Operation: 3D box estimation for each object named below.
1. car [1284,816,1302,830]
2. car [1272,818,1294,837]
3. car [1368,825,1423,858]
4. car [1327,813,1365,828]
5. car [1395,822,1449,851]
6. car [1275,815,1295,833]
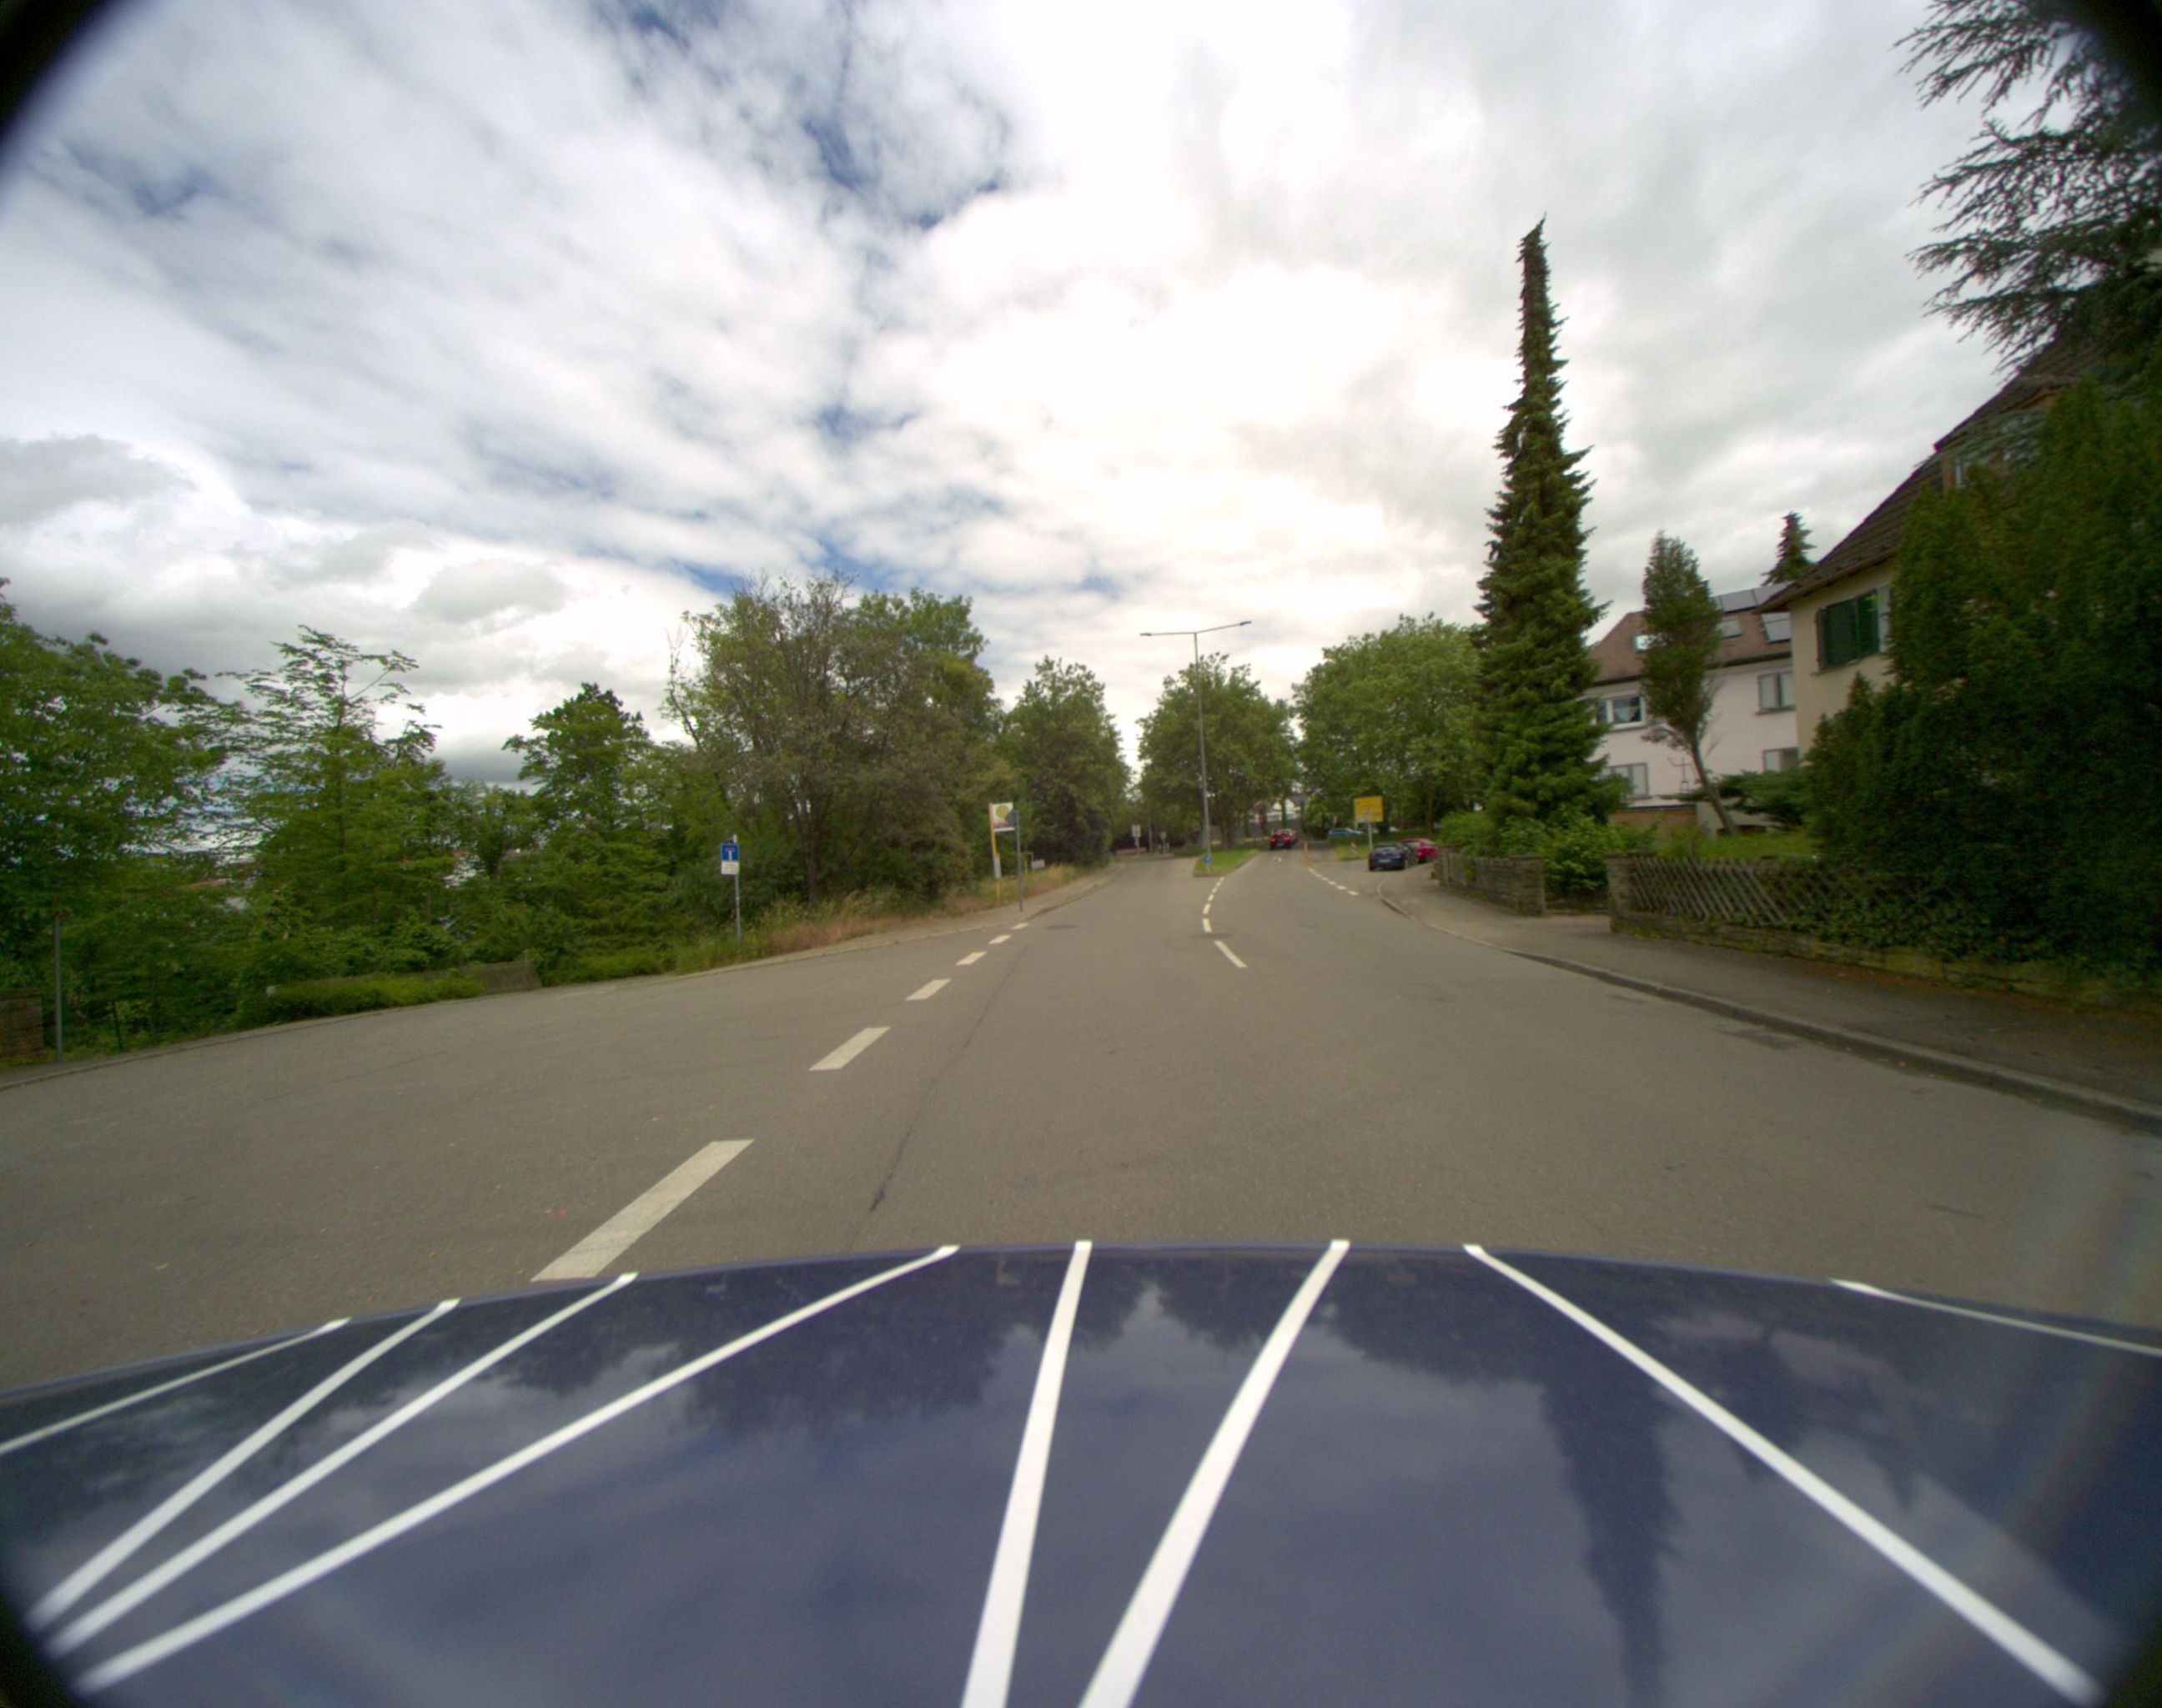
[{"bbox_3d":[25.034,-3.663,89.610,1.759,1.509,4.391,-4,1,18],"label":"car"},{"bbox_3d":[19.595,-2.588,73.495,1.759,1.583,4.616,-4,3,18],"label":"car"},{"bbox_3d":[16.337,-0.657,39.347,1.728,1.465,4.322,-3,1,34],"label":"car"},{"bbox_3d":[33.584,-4.184,96.302,1.801,1.419,4.137,0,-4,-42],"label":"car"},{"bbox_3d":[19.594,-1.027,43.546,1.728,1.465,4.286,-3,1,39],"label":"car"},{"bbox_3d":[22.376,-3.227,83.162,1.854,1.648,4.913,-4,-1,18],"label":"car"}]
